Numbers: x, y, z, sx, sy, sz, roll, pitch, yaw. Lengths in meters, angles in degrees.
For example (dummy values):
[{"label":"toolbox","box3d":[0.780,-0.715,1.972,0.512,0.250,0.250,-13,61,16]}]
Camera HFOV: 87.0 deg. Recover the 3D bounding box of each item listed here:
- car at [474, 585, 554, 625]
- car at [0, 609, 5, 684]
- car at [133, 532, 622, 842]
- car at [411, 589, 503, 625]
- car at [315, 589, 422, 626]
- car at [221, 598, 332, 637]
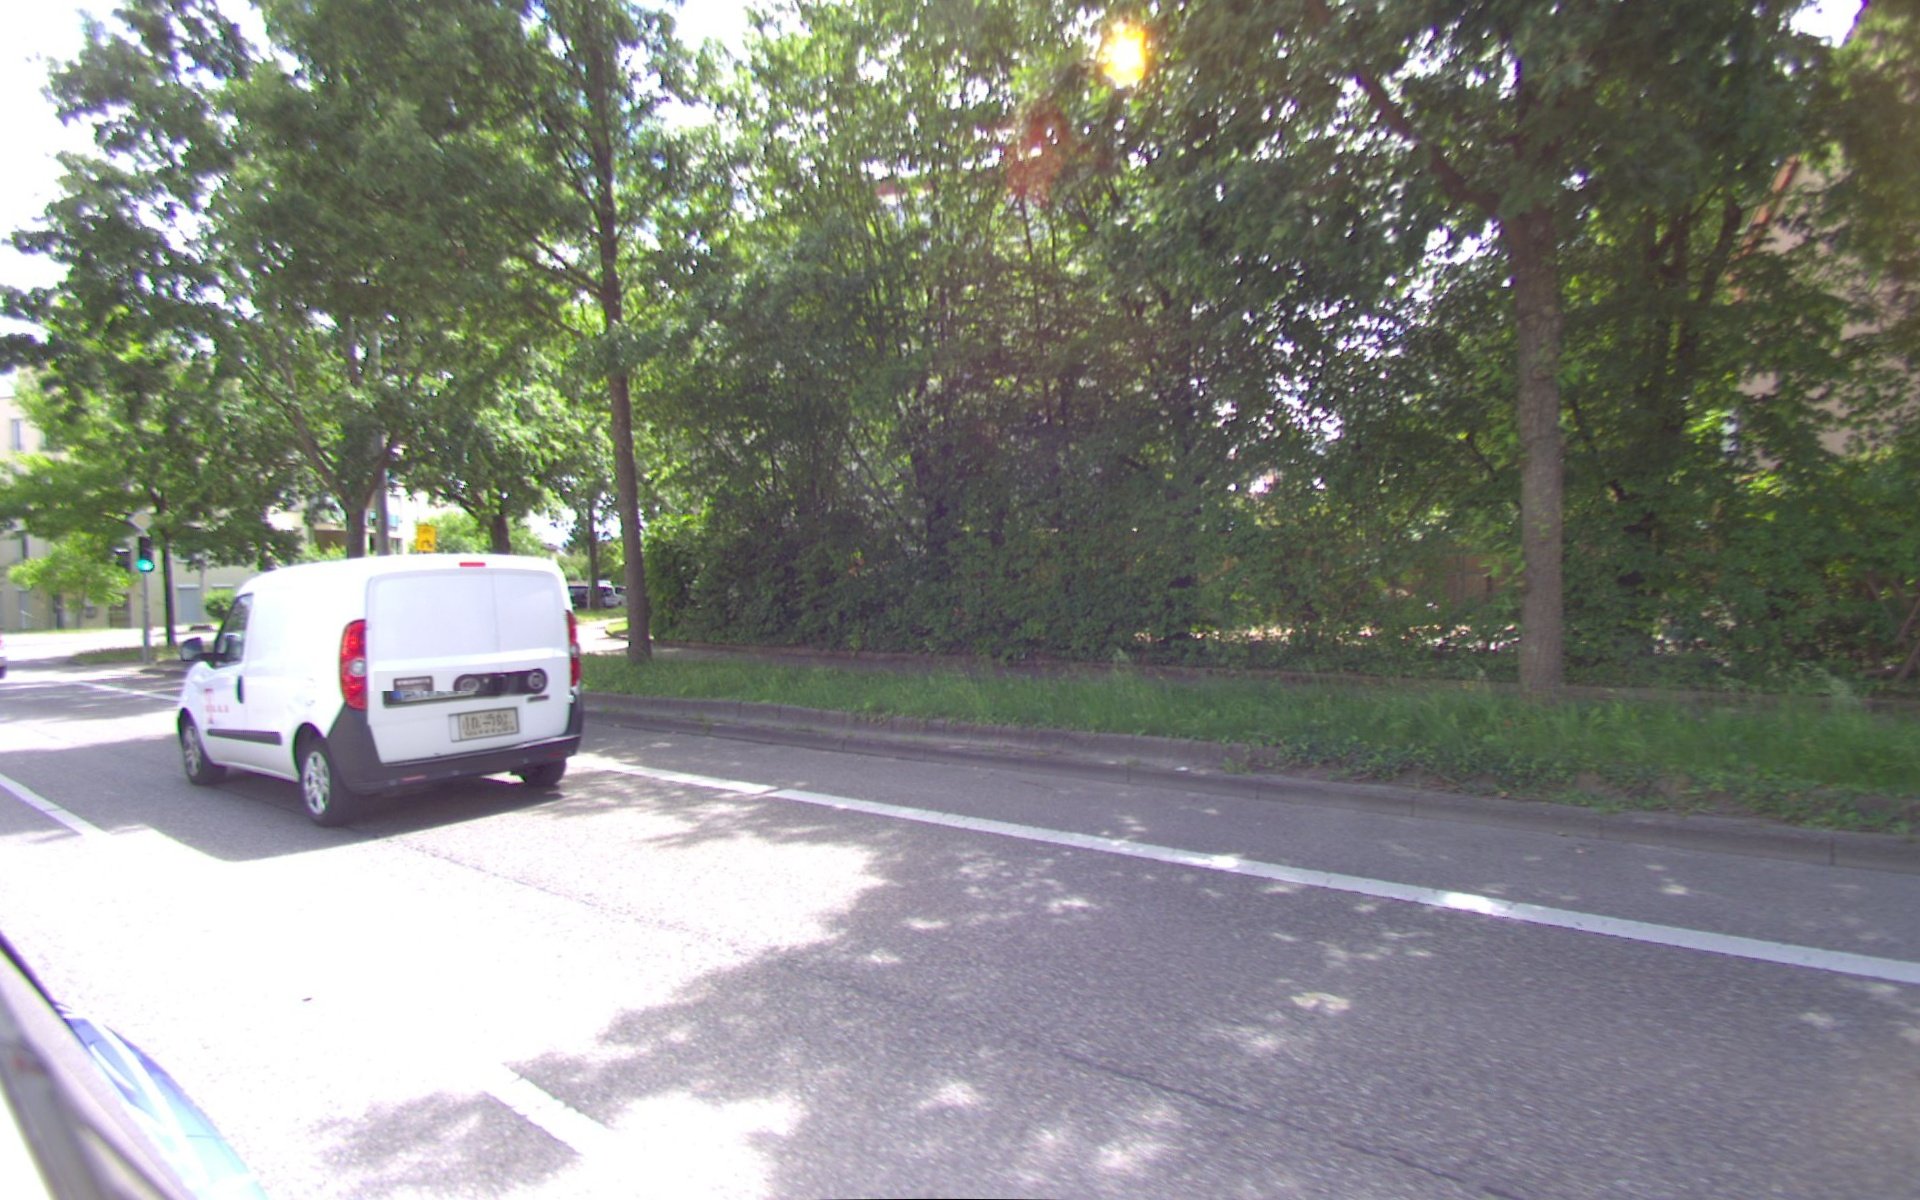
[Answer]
[{"label":"car","box3d":[-22.081,0.260,50.262,1.824,1.858,3.991,-1,-1,7]},{"label":"car","box3d":[-23.121,1.076,22.689,3.991,1.630,1.694,-1,2,36]},{"label":"car","box3d":[-4.939,0.549,8.302,4.587,1.889,1.831,-1,1,38]},{"label":"car","box3d":[-22.659,0.291,45.758,1.678,1.463,3.987,1,2,10]},{"label":"car","box3d":[-30.198,0.343,51.866,2.080,1.615,4.775,0,3,12]},{"label":"car","box3d":[-31.448,0.780,46.717,1.720,1.408,4.138,-1,4,12]}]
